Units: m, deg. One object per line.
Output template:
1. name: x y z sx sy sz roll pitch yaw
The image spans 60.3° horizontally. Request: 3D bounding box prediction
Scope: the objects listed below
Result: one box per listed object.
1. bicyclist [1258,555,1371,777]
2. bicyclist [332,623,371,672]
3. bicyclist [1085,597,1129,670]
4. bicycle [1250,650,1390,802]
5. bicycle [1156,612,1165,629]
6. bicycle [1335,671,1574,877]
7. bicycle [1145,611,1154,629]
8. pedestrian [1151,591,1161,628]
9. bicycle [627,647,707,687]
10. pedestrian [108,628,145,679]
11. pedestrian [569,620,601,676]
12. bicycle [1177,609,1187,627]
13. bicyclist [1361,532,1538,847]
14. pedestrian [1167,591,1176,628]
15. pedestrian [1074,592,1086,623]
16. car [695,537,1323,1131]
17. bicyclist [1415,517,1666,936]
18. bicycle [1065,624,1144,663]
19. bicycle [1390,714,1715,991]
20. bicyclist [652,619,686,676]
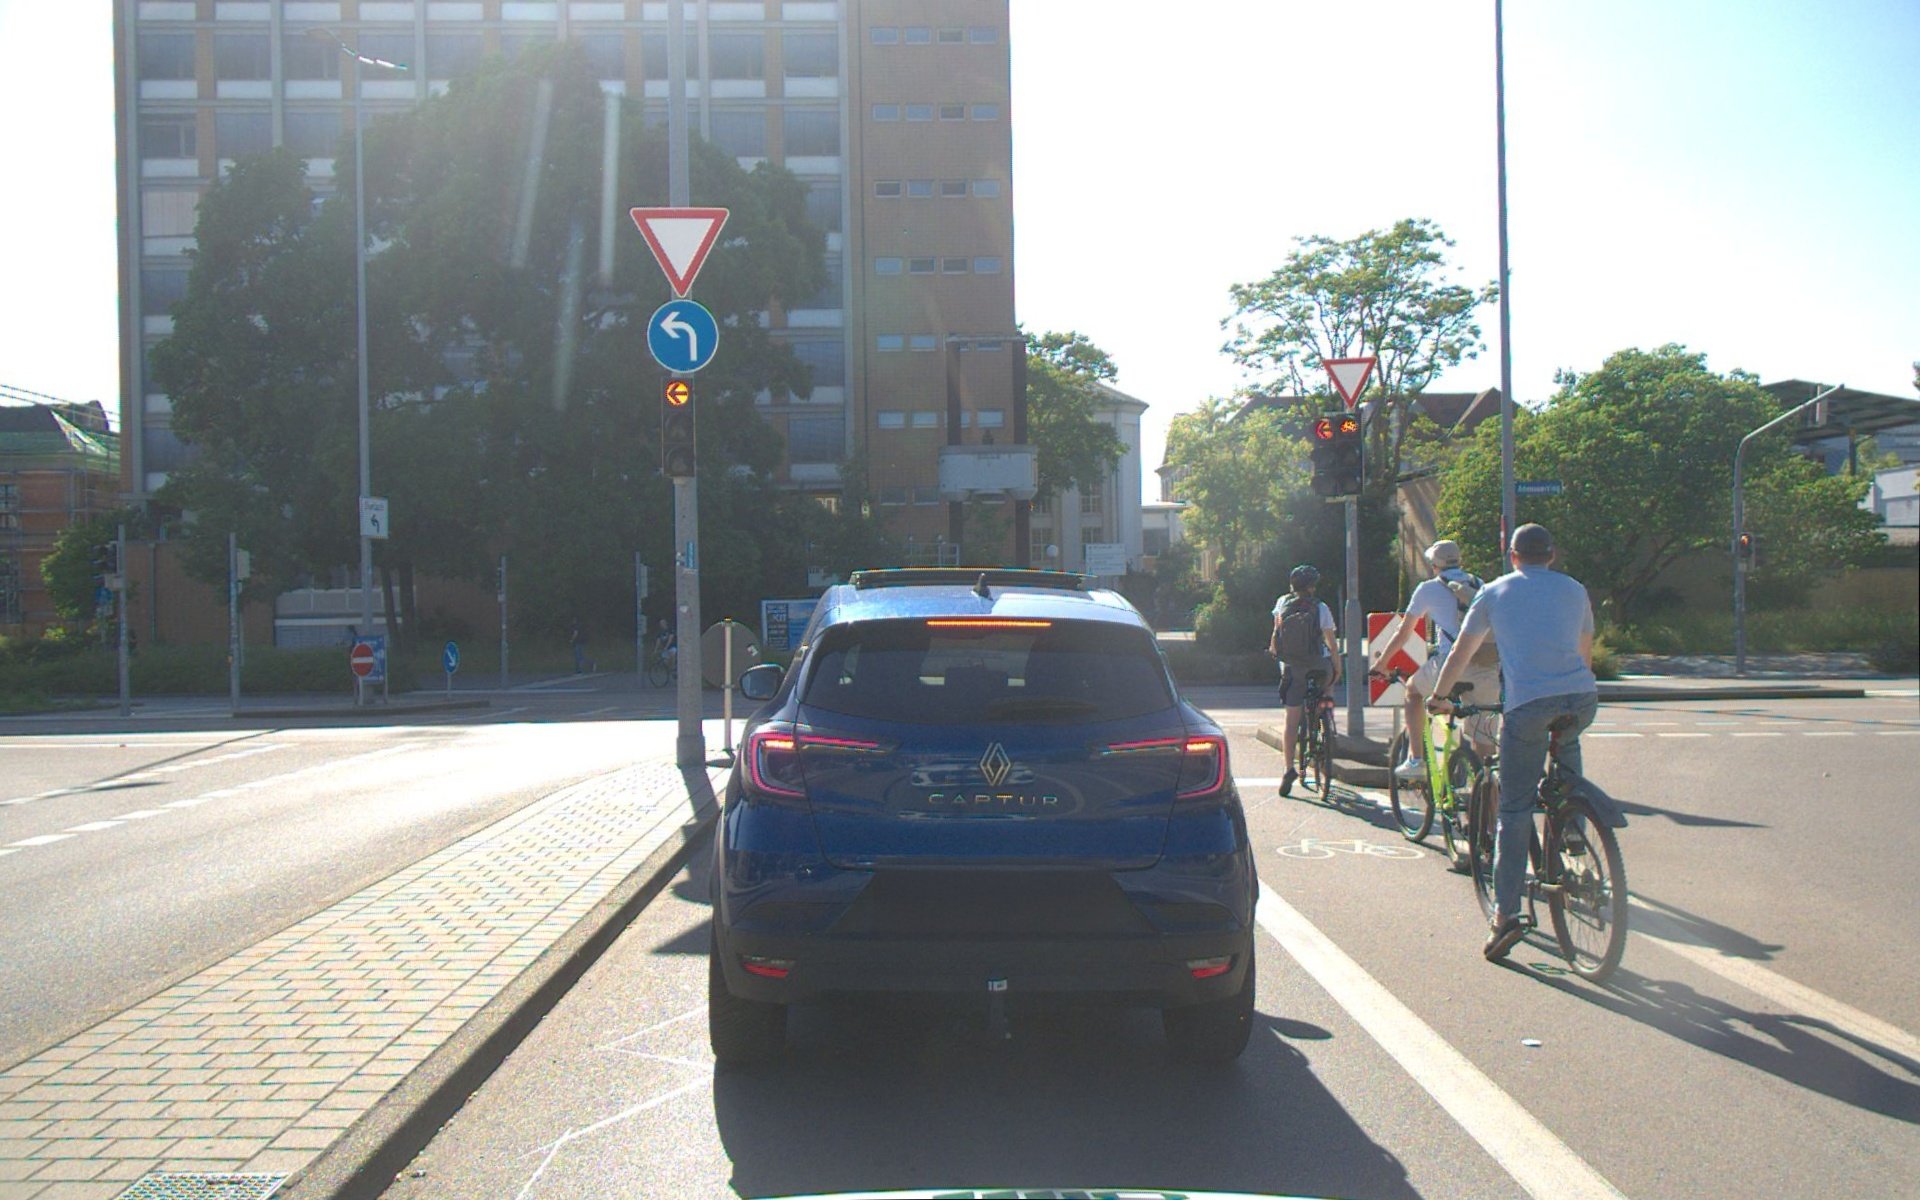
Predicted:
1. bicyclist: 2.764 0.500 12.971 0.711 1.657 0.969 1 0 3
2. bicyclist: -18.437 1.424 50.091 0.917 1.454 0.599 -1 0 19
3. bicyclist: 3.880 0.878 43.735 1.078 1.900 0.653 -1 0 10
4. bicycle: 2.765 0.935 12.920 0.723 1.012 2.174 1 0 3
5. bicycle: 11.408 1.155 94.185 0.397 0.990 1.684 1 0 3
6. bicycle: 2.875 0.977 9.841 0.646 1.020 1.967 1 0 -6
7. bicycle: 10.798 1.144 94.219 0.397 0.990 1.684 1 0 3
8. pedestrian: 10.800 0.515 91.192 0.465 2.049 0.523 -1 0 5
9. bicycle: -7.716 1.763 43.615 1.982 0.981 0.593 -1 0 -28
10. pedestrian: -27.442 1.752 54.440 0.842 1.598 0.559 -5 0 22
11. pedestrian: -11.073 1.405 48.821 0.721 1.631 0.599 -1 0 12
12. bicycle: 12.684 1.032 94.585 0.397 0.990 1.684 1 0 3
13. bicyclist: 2.887 0.508 9.837 0.633 1.769 1.065 1 0 -6
14. pedestrian: 11.831 0.539 92.558 0.465 2.049 0.468 -1 0 5
15. pedestrian: 7.378 0.452 101.471 0.612 1.888 0.562 -1 0 -10
16. car: 0.065 0.666 6.678 1.767 1.660 3.998 1 0 -3
17. bicyclist: 2.512 0.518 7.267 0.736 1.698 1.016 1 0 0
18. bicycle: 3.834 1.146 43.828 2.037 0.946 0.697 -2 1 9
19. bicycle: 2.507 1.028 7.270 0.725 0.911 1.978 1 0 0
20. bicyclist: -7.668 1.239 43.642 0.728 1.466 0.593 -1 0 -27
